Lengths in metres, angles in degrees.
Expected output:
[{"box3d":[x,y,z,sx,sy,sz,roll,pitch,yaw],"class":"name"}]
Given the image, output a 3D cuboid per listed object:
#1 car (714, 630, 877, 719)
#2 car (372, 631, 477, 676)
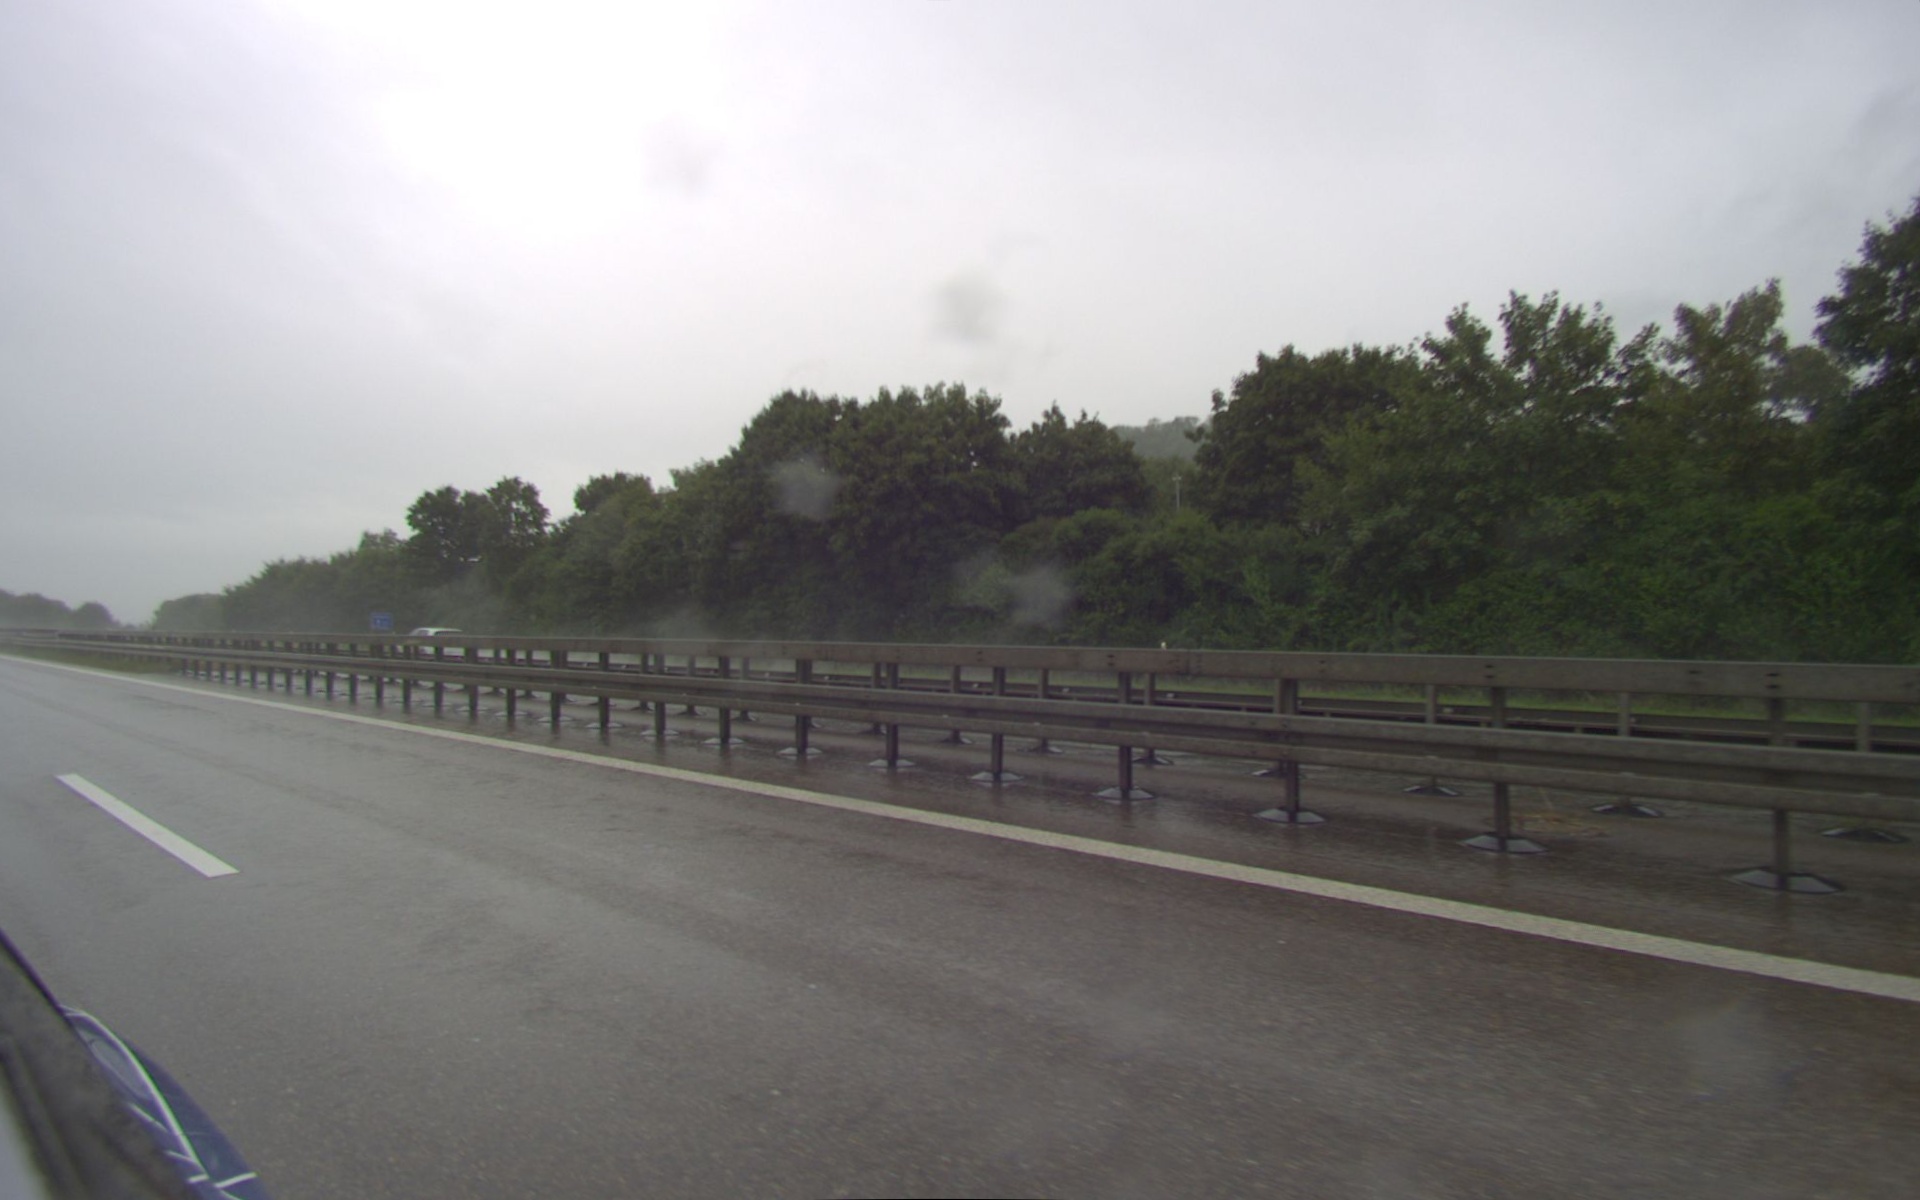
[{"box3d":[-4.206,1.784,25.586,3.998,2.029,1.973,-1,-1,41],"class":"car"},{"box3d":[-21.526,2.085,40.554,5.302,1.705,1.972,-2,-2,41],"class":"car"}]
